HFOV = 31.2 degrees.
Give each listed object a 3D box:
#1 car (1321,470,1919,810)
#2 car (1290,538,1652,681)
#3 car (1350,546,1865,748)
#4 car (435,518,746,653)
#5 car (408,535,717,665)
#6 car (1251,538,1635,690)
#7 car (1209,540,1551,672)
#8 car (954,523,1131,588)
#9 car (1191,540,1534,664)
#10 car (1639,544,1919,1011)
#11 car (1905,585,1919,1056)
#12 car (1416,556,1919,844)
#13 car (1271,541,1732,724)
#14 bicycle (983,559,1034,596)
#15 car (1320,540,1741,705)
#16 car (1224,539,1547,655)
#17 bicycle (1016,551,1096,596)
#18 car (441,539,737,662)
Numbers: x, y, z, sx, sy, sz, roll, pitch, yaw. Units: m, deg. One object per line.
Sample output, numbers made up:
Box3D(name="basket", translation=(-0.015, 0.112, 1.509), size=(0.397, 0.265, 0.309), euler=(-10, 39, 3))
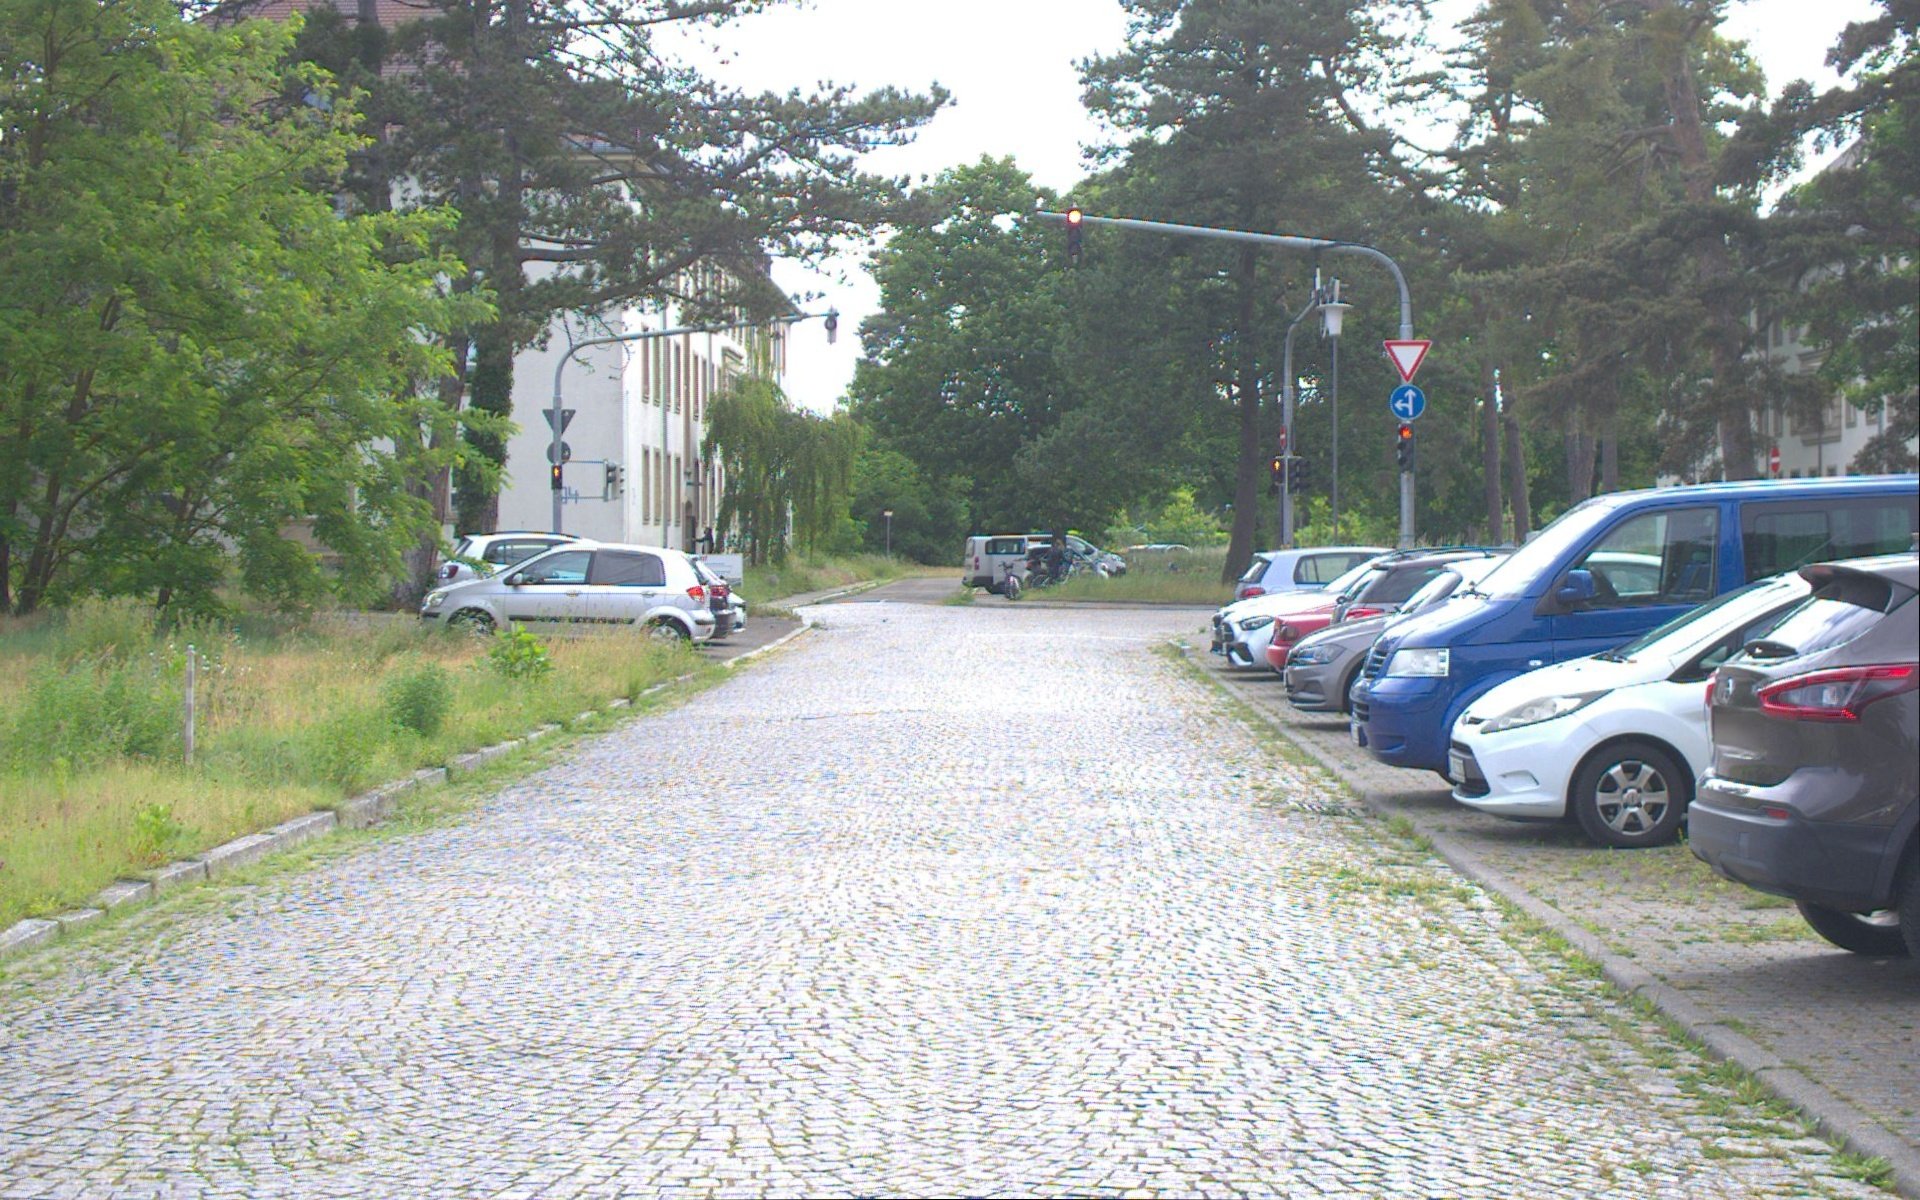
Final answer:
Box3D(name="car", translation=(4.749, 0.208, 21.385), size=(4.754, 1.948, 1.931), euler=(-1, 1, -1))
Box3D(name="car", translation=(5.523, 0.094, 37.408), size=(3.672, 1.444, 1.524), euler=(-1, 1, -1))
Box3D(name="car", translation=(4.969, 0.343, 26.662), size=(3.672, 1.444, 1.524), euler=(-1, 1, -1))
Box3D(name="car", translation=(-5.316, -0.221, 49.769), size=(4.262, 1.834, 1.744), euler=(-1, 1, 1))
Box3D(name="car", translation=(-5.093, -0.006, 44.360), size=(3.821, 1.567, 1.564), euler=(-1, 1, -2))
Box3D(name="car", translation=(4.899, 0.128, 35.138), size=(3.672, 1.444, 1.524), euler=(-1, 1, -1))
Box3D(name="car", translation=(4.816, 0.053, 39.678), size=(3.671, 1.416, 1.524), euler=(-1, 1, -3))
Box3D(name="car", translation=(2.681, -1.455, 112.085), size=(5.444, 2.007, 2.269), euler=(1, 1, -8))
Box3D(name="car", translation=(4.946, 0.010, 42.531), size=(3.967, 1.416, 1.620), euler=(-1, 1, -3))
Box3D(name="car", translation=(4.667, 0.547, 12.419), size=(4.028, 1.547, 1.751), euler=(-1, 1, -1))
Box3D(name="car", translation=(4.826, 0.653, 9.764), size=(3.792, 1.455, 1.751), euler=(-1, 1, 1))
Box3D(name="car", translation=(4.463, 0.504, 18.803), size=(3.671, 1.444, 1.615), euler=(-1, 1, -1))
Box3D(name="car", translation=(4.588, 0.262, 29.451), size=(3.672, 1.444, 1.524), euler=(-1, 1, -1))
Box3D(name="bicycle", translation=(1.259, -0.588, 90.144), size=(0.620, 0.941, 1.663), euler=(0, 1, -27))
Box3D(name="car", translation=(5.336, 0.196, 32.421), size=(3.672, 1.444, 1.524), euler=(-1, 1, -1))
Box3D(name="car", translation=(5.559, -0.053, 45.167), size=(3.967, 1.416, 1.620), euler=(-1, 1, -3))
Box3D(name="bicycle", translation=(2.629, -0.735, 94.179), size=(2.136, 1.210, 0.622), euler=(1, 1, -3))
Box3D(name="car", translation=(-5.013, -0.009, 46.776), size=(3.821, 1.567, 1.564), euler=(-1, 1, 1))
